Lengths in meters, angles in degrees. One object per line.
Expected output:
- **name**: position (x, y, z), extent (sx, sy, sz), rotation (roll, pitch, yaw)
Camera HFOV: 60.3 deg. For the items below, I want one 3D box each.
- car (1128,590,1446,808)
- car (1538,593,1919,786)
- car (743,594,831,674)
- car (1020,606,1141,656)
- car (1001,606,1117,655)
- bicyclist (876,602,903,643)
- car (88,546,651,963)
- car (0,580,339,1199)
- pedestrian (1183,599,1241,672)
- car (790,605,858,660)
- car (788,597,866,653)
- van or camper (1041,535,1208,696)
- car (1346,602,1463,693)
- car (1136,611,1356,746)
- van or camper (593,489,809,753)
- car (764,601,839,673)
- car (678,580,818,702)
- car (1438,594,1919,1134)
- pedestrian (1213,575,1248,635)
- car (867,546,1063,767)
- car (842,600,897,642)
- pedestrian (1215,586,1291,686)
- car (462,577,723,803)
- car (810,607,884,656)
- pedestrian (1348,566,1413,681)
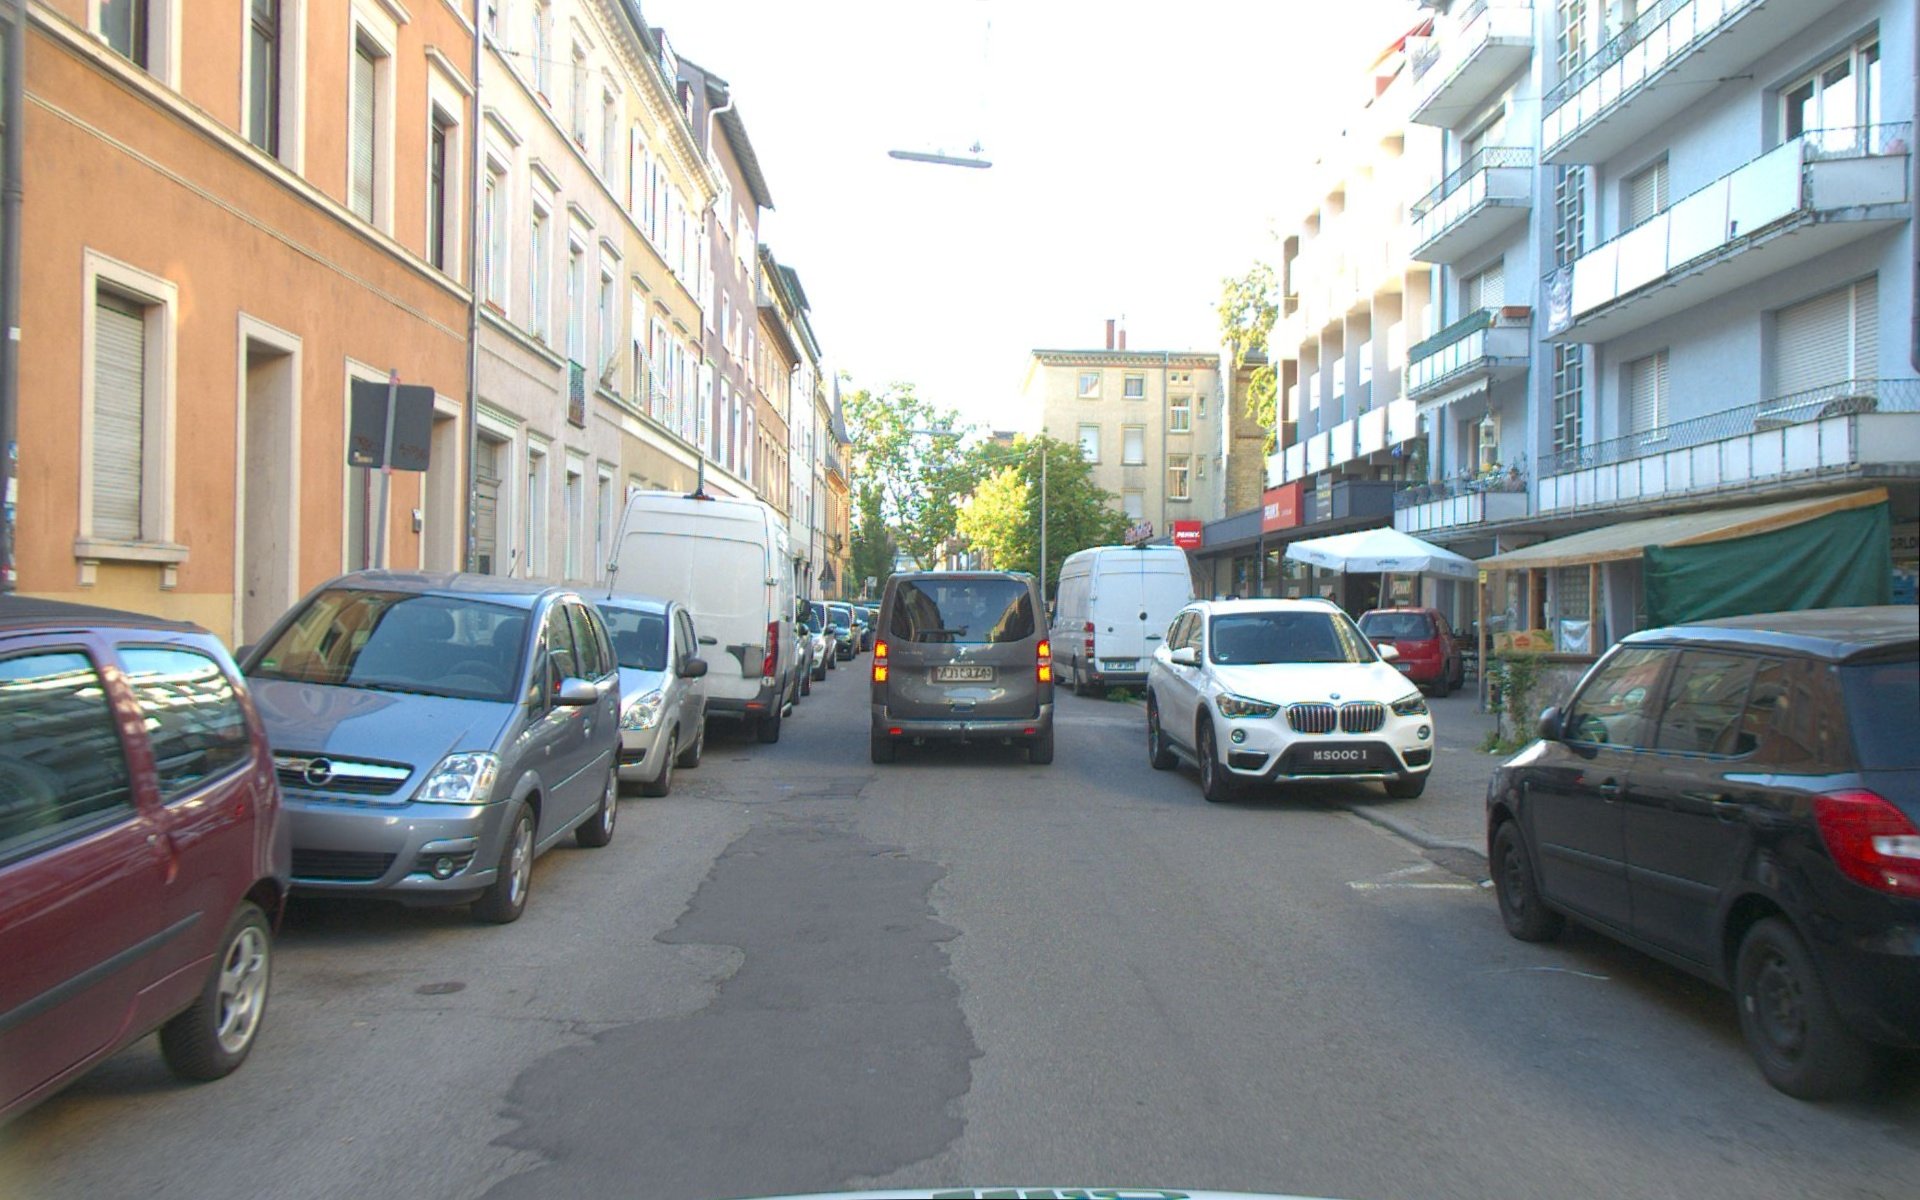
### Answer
- **car**: position (2.732, 0.781, 14.896), extent (1.688, 1.640, 4.585), rotation (1, -1, -4)
- **car**: position (7.741, 0.834, 15.790), extent (3.817, 1.635, 1.693), rotation (2, -1, -2)
- **car**: position (-3.557, 0.682, 34.325), extent (1.677, 1.524, 3.851), rotation (1, 0, -5)
- **car**: position (4.802, 1.243, 66.263), extent (4.484, 1.891, 1.996), rotation (1, -1, -8)
- **car**: position (4.093, 1.243, 68.672), extent (4.484, 1.891, 1.996), rotation (1, -1, -8)
- **bicyclist**: position (-2.813, 0.897, 66.243), extent (1.013, 1.605, 0.833), rotation (0, -1, 3)
- **car**: position (-2.866, 0.669, 9.004), extent (1.677, 1.673, 3.977), rotation (3, 0, -2)
- **car**: position (-2.921, 0.680, 3.961), extent (1.624, 1.473, 3.284), rotation (4, -1, -2)
- **pedestrian**: position (6.190, 0.865, 40.636), extent (0.925, 1.751, 1.050), rotation (0, -1, -35)
- **car**: position (-3.818, 0.893, 46.752), extent (1.753, 1.422, 4.463), rotation (2, 0, -4)
- **car**: position (-4.093, 0.760, 51.659), extent (1.952, 1.633, 4.585), rotation (1, 0, 1)
- **van or camper**: position (2.884, 0.280, 30.881), extent (2.057, 2.648, 7.508), rotation (0, 0, -3)
- **car**: position (7.601, 0.770, 28.109), extent (1.567, 1.441, 3.228), rotation (0, -1, 22)
- **car**: position (3.277, 0.849, 19.789), extent (1.688, 1.412, 4.292), rotation (-1, 0, -3)
- **van or camper**: position (-2.984, 0.237, 20.563), extent (1.910, 2.696, 7.136), rotation (0, 0, -3)
- **car**: position (-3.599, 0.828, 37.873), extent (1.357, 1.559, 2.749), rotation (1, 0, 2)
- **car**: position (-3.334, 0.622, 26.760), extent (1.826, 1.781, 4.291), rotation (1, 0, -2)
- **car**: position (3.374, 0.743, 6.741), extent (1.587, 1.512, 4.123), rotation (-1, 0, -1)
- **pedestrian**: position (9.056, 0.159, 55.421), extent (1.063, 1.979, 0.872), rotation (0, -1, 16)
- **car**: position (-0.009, 0.535, 17.613), extent (1.820, 2.049, 3.998), rotation (-1, 0, -2)
- **car**: position (-3.718, 0.856, 67.105), extent (2.102, 1.588, 4.580), rotation (1, -1, -4)
- **pedestrian**: position (4.791, 0.578, 27.058), extent (0.859, 1.583, 0.869), rotation (-1, 0, -23)
- **car**: position (-3.107, 0.712, 14.645), extent (1.558, 1.715, 3.651), rotation (1, 0, -2)
- **car**: position (-3.866, 1.082, 57.563), extent (1.952, 1.588, 4.586), rotation (1, 0, 4)
- **pedestrian**: position (8.129, 0.445, 32.010), extent (0.859, 2.182, 0.951), rotation (0, -1, -18)
